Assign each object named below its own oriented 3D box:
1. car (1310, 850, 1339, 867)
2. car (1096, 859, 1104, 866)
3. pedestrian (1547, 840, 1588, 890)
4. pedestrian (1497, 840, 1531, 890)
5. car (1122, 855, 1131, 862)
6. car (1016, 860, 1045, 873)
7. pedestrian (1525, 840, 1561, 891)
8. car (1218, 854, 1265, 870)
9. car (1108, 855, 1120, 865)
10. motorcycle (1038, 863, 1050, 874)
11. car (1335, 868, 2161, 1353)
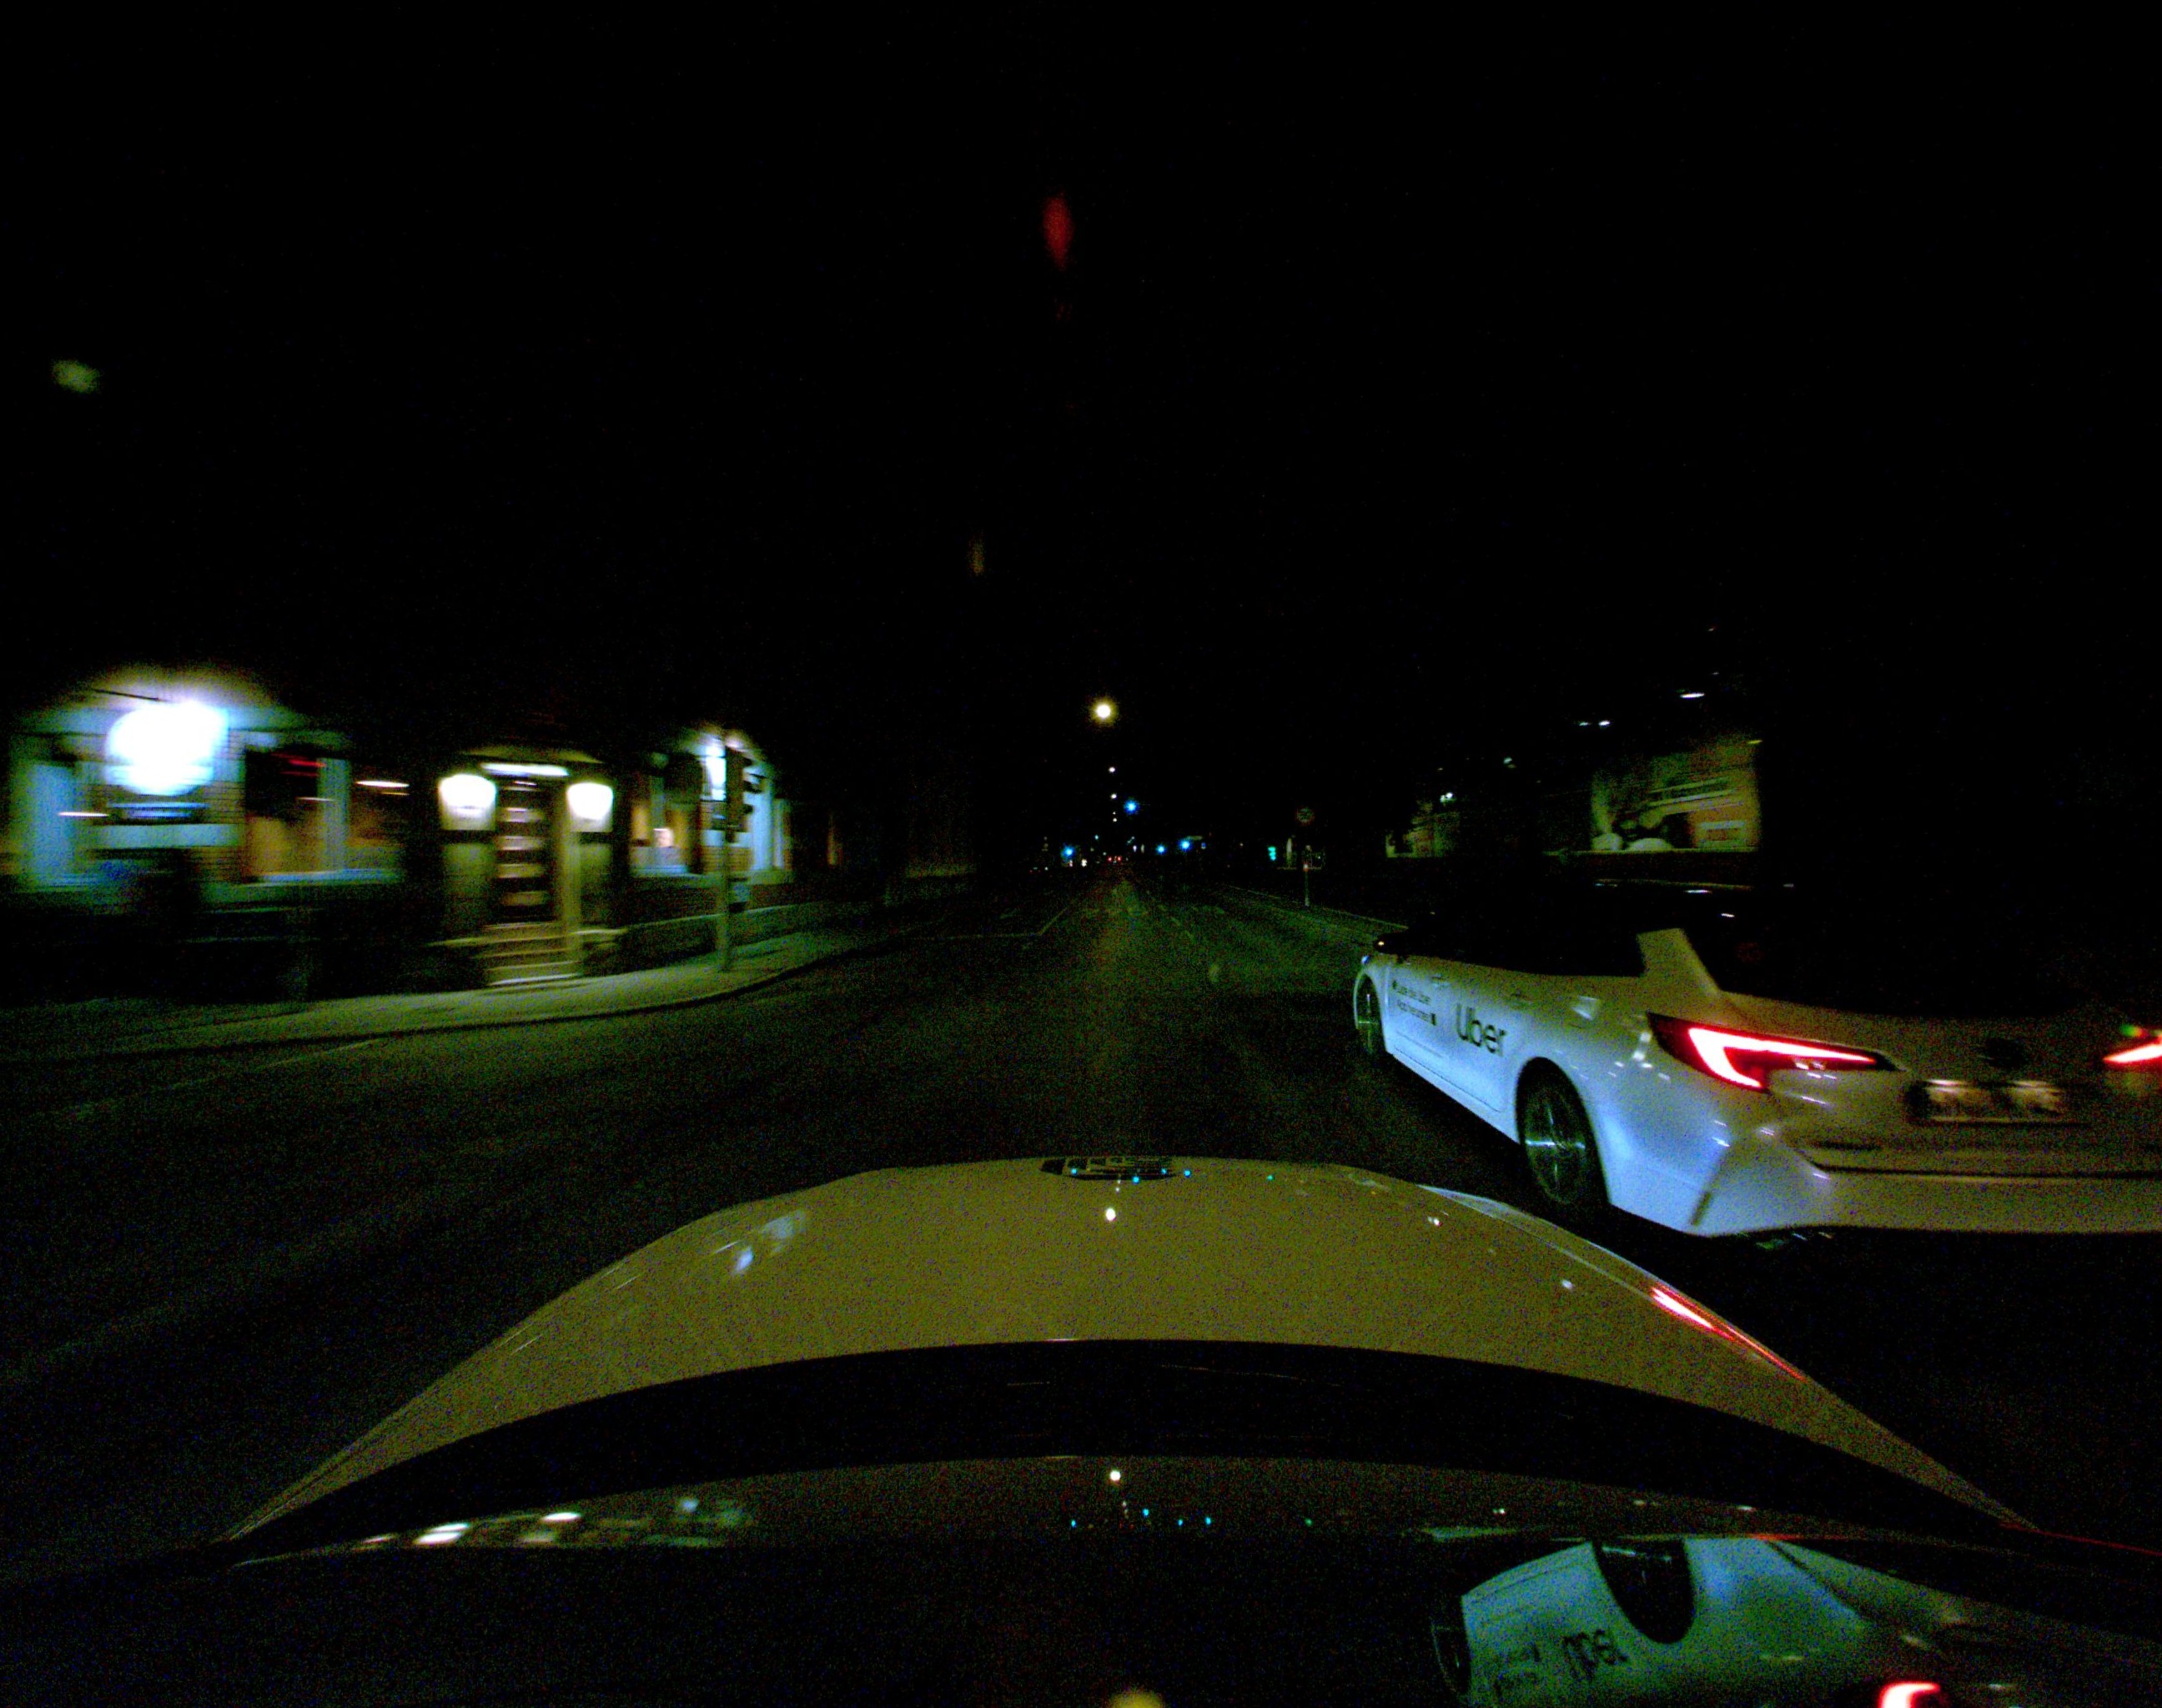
[{"bbox_3d":[22.711,0.397,76.012,1.567,1.487,3.833,-2,0,2],"label":"car"},{"bbox_3d":[4.448,1.931,188.019,1.772,1.390,4.000,-2,0,0],"label":"car"},{"bbox_3d":[17.707,0.386,29.679,0.897,1.769,0.907,-2,-1,2],"label":"pedestrian"},{"bbox_3d":[15.670,0.397,29.484,0.711,1.769,0.907,-2,-1,2],"label":"pedestrian"},{"bbox_3d":[11.258,1.104,202.271,1.987,1.596,3.999,-2,-1,0],"label":"car"},{"bbox_3d":[-6.021,1.525,96.999,1.814,1.486,3.962,-2,0,-29],"label":"car"},{"bbox_3d":[16.645,0.407,29.360,0.736,1.769,0.907,-2,-1,2],"label":"pedestrian"},{"bbox_3d":[14.730,0.734,74.846,3.968,1.386,1.774,-2,0,5],"label":"car"},{"bbox_3d":[5.713,1.013,140.879,1.987,1.640,4.000,-1,-1,1],"label":"car"},{"bbox_3d":[-4.322,1.716,94.108,0.783,1.204,2.436,-2,0,-16],"label":"motorcycle"},{"bbox_3d":[2.878,0.818,4.602,1.722,1.435,4.212,0,-1,2],"label":"car"}]
